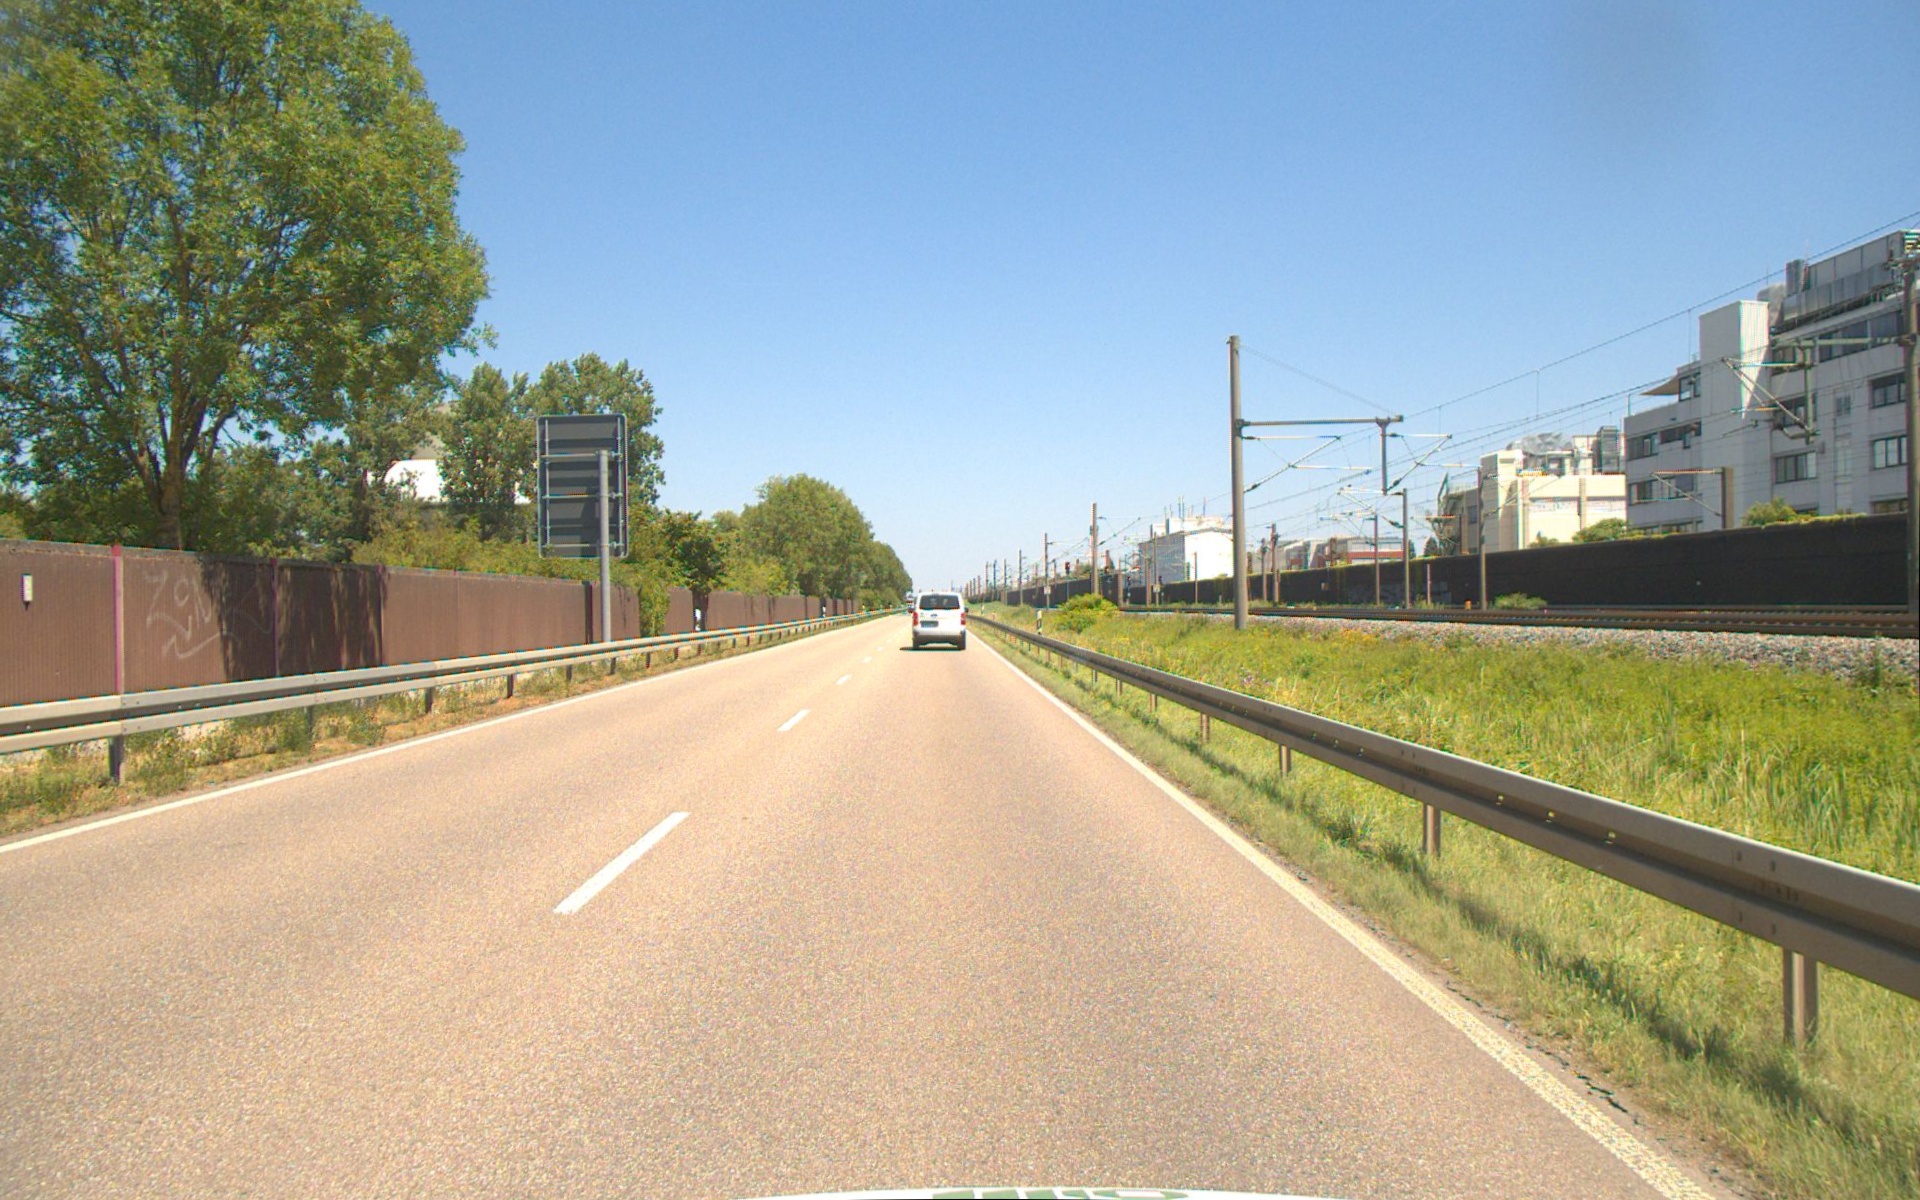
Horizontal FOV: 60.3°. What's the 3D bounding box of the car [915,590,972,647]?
[{"bbox_3d":[-0.587,0.643,57.576,1.906,1.914,4.879,0,-1,-1],"label":"car"}]
